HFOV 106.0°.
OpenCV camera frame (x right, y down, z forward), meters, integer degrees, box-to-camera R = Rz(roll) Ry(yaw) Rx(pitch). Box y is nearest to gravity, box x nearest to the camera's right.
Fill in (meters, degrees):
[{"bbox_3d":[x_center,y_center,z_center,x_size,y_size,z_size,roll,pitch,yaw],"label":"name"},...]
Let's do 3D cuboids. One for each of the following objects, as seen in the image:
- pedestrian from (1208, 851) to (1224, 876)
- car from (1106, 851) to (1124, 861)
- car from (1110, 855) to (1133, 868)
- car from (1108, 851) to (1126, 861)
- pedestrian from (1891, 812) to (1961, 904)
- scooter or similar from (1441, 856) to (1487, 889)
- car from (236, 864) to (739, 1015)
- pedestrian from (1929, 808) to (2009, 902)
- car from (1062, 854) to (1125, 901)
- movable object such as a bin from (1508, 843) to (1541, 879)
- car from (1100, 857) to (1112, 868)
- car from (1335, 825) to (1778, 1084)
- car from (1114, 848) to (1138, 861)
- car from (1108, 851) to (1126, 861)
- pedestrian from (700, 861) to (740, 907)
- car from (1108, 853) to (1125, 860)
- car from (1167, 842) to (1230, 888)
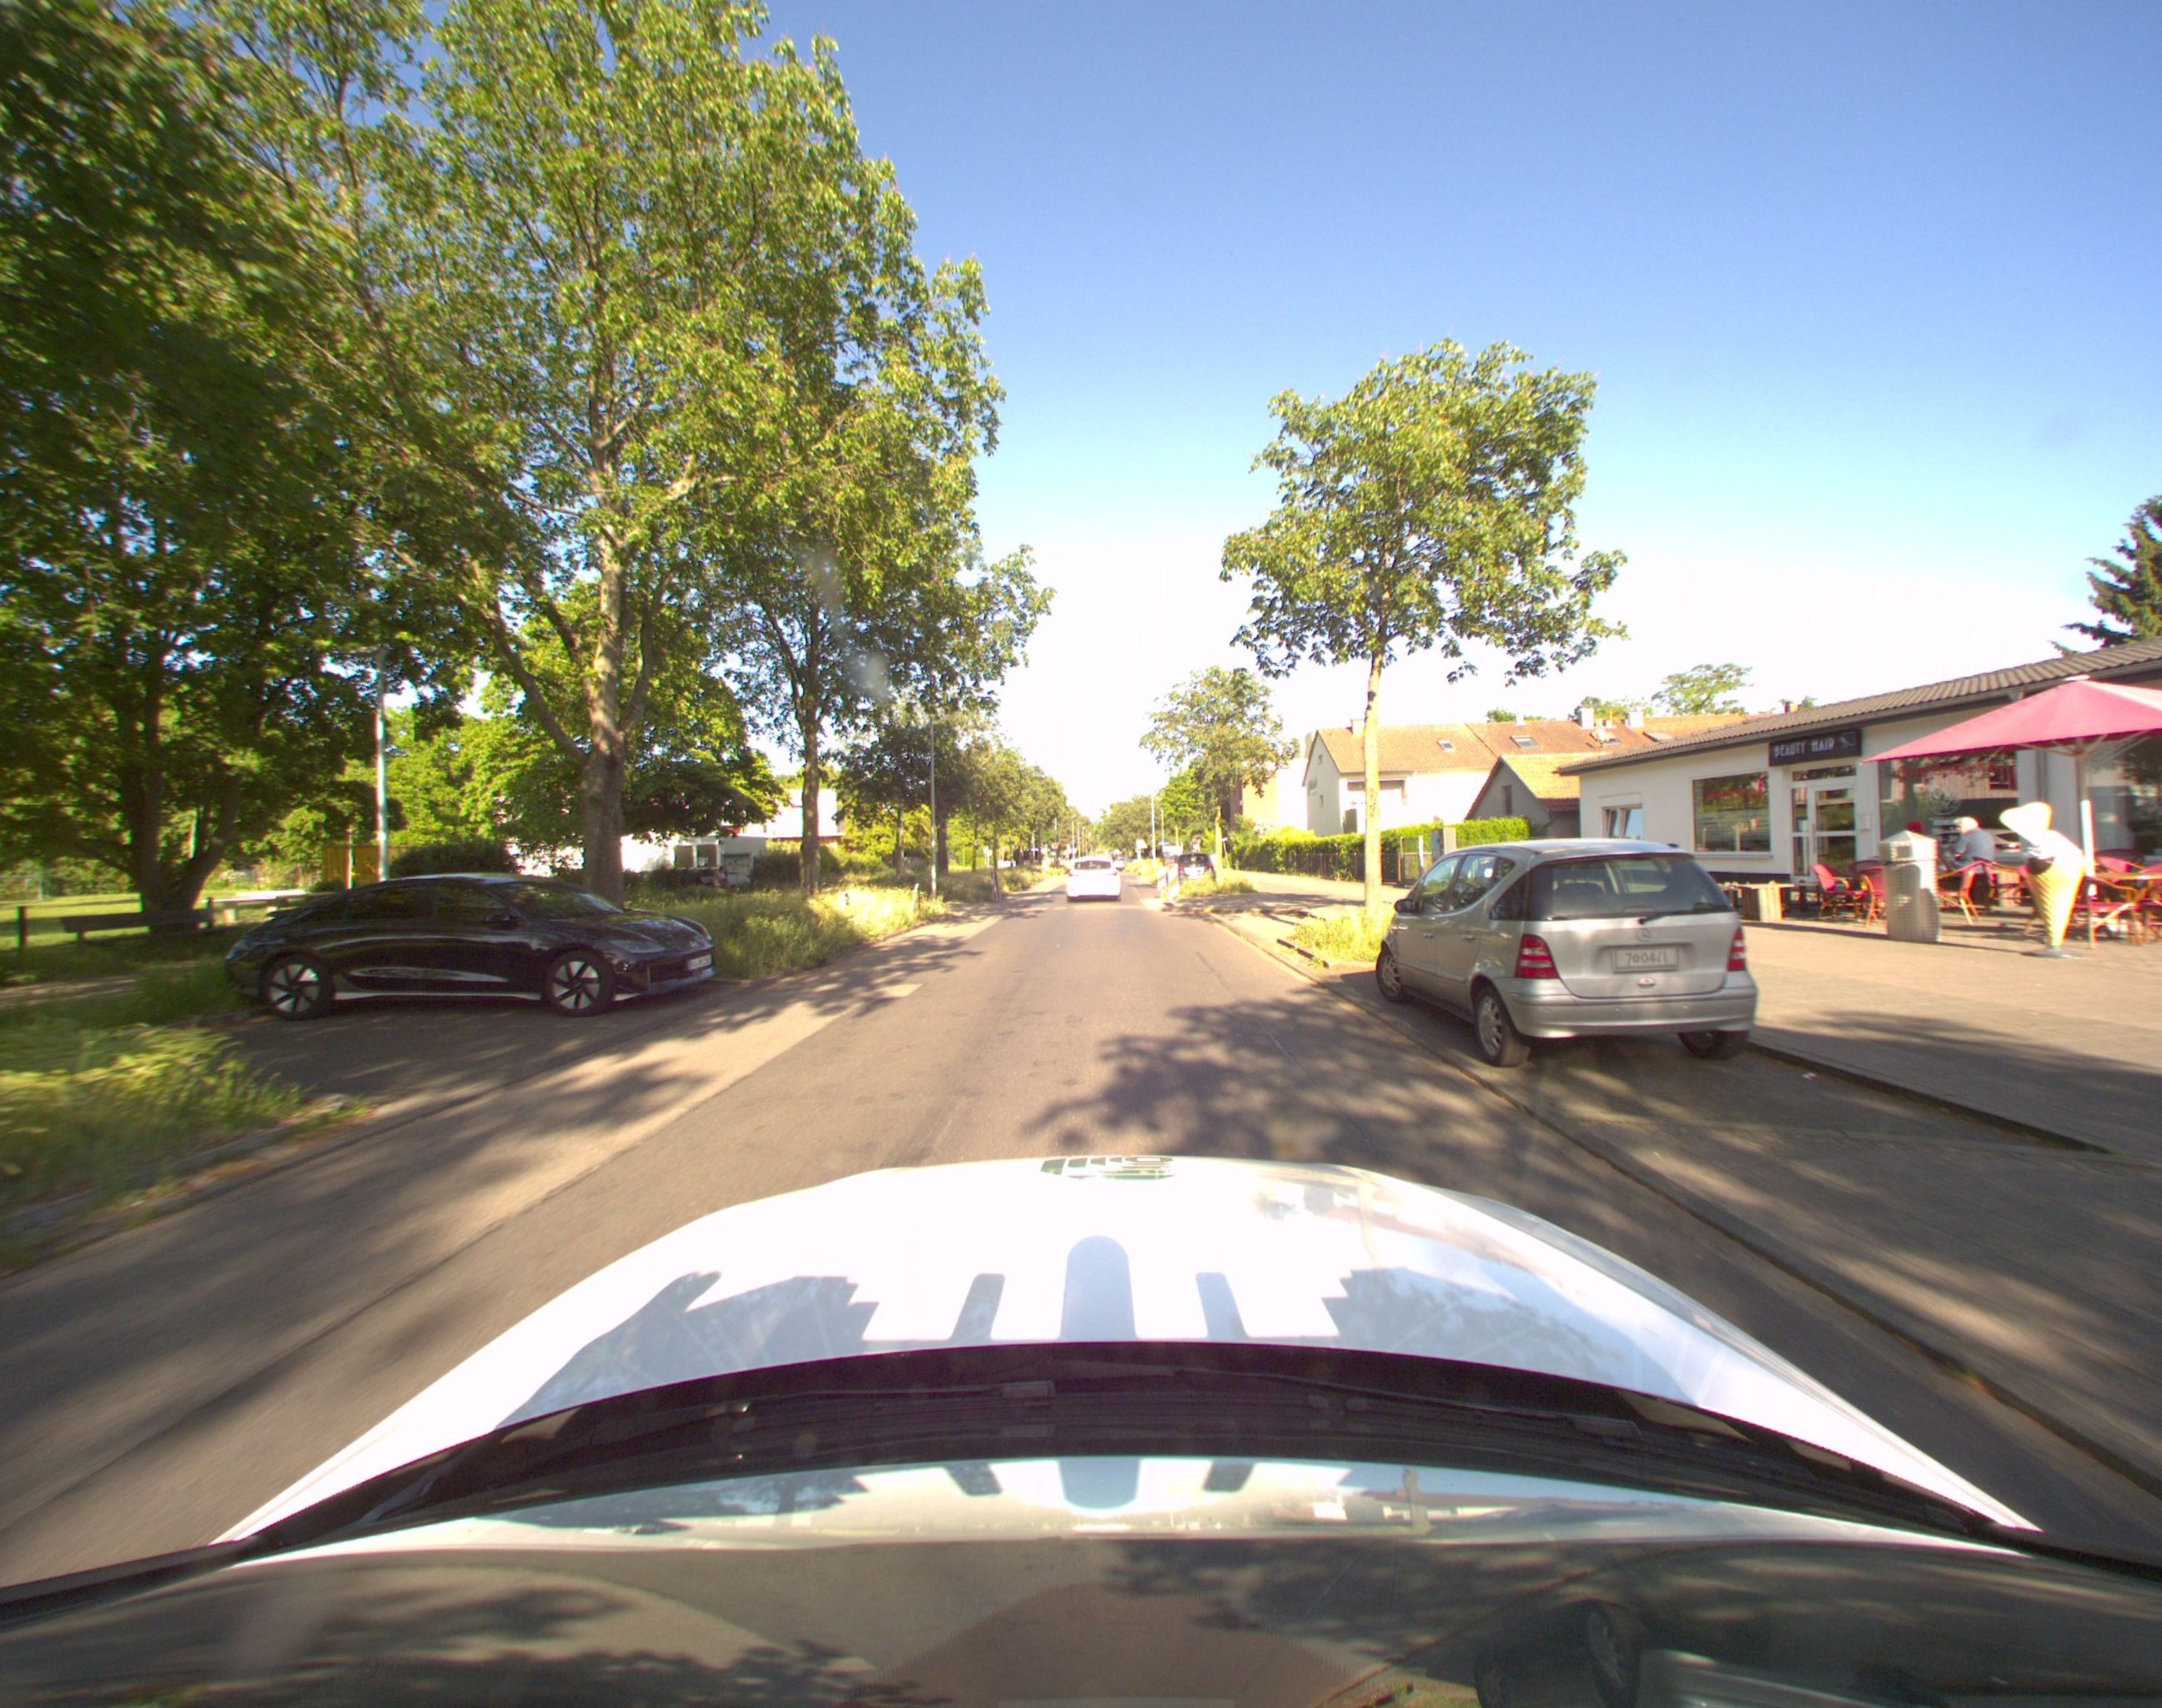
[{"bbox_3d":[10.767,0.740,64.990,1.108,2.013,0.922,-1,0,1],"label":"pedestrian"},{"bbox_3d":[7.612,0.456,184.767,3.974,2.013,2.000,-1,0,0],"label":"car"},{"bbox_3d":[4.854,0.920,97.094,1.978,1.508,3.673,1,0,16],"label":"car"},{"bbox_3d":[7.936,0.448,179.478,3.974,2.013,2.000,-1,0,0],"label":"car"},{"bbox_3d":[12.949,0.062,12.498,0.437,1.384,0.640,0,0,7],"label":"pedestrian"},{"bbox_3d":[10.498,0.484,22.347,0.368,0.858,1.406,-1,0,-12],"label":"scooter or similar"},{"bbox_3d":[-6.455,0.886,9.242,4.352,1.531,1.807,0,0,0],"label":"car"},{"bbox_3d":[13.786,0.025,12.656,0.655,1.409,0.496,-4,-1,30],"label":"pedestrian"},{"bbox_3d":[0.463,0.748,28.127,1.986,1.455,4.226,-1,0,1],"label":"car"},{"bbox_3d":[13.247,0.203,24.346,0.491,1.031,0.747,-4,0,0],"label":"movable object such as a bin"},{"bbox_3d":[3.754,1.301,122.070,1.810,1.508,3.659,2,0,2],"label":"car"},{"bbox_3d":[3.749,0.651,7.444,1.604,1.622,4.384,2,0,2],"label":"car"},{"bbox_3d":[7.892,0.085,142.591,3.974,2.013,2.000,-1,0,0],"label":"car"},{"bbox_3d":[7.963,0.422,182.048,3.974,2.013,2.000,-1,0,0],"label":"car"},{"bbox_3d":[-14.848,1.224,33.542,1.227,1.827,1.543,0,-1,-15],"label":"pedestrian"},{"bbox_3d":[8.390,0.583,194.912,3.975,1.750,1.999,-1,0,-1],"label":"car"},{"bbox_3d":[4.869,0.460,34.262,1.988,1.728,3.998,-3,-1,-1],"label":"car"}]
